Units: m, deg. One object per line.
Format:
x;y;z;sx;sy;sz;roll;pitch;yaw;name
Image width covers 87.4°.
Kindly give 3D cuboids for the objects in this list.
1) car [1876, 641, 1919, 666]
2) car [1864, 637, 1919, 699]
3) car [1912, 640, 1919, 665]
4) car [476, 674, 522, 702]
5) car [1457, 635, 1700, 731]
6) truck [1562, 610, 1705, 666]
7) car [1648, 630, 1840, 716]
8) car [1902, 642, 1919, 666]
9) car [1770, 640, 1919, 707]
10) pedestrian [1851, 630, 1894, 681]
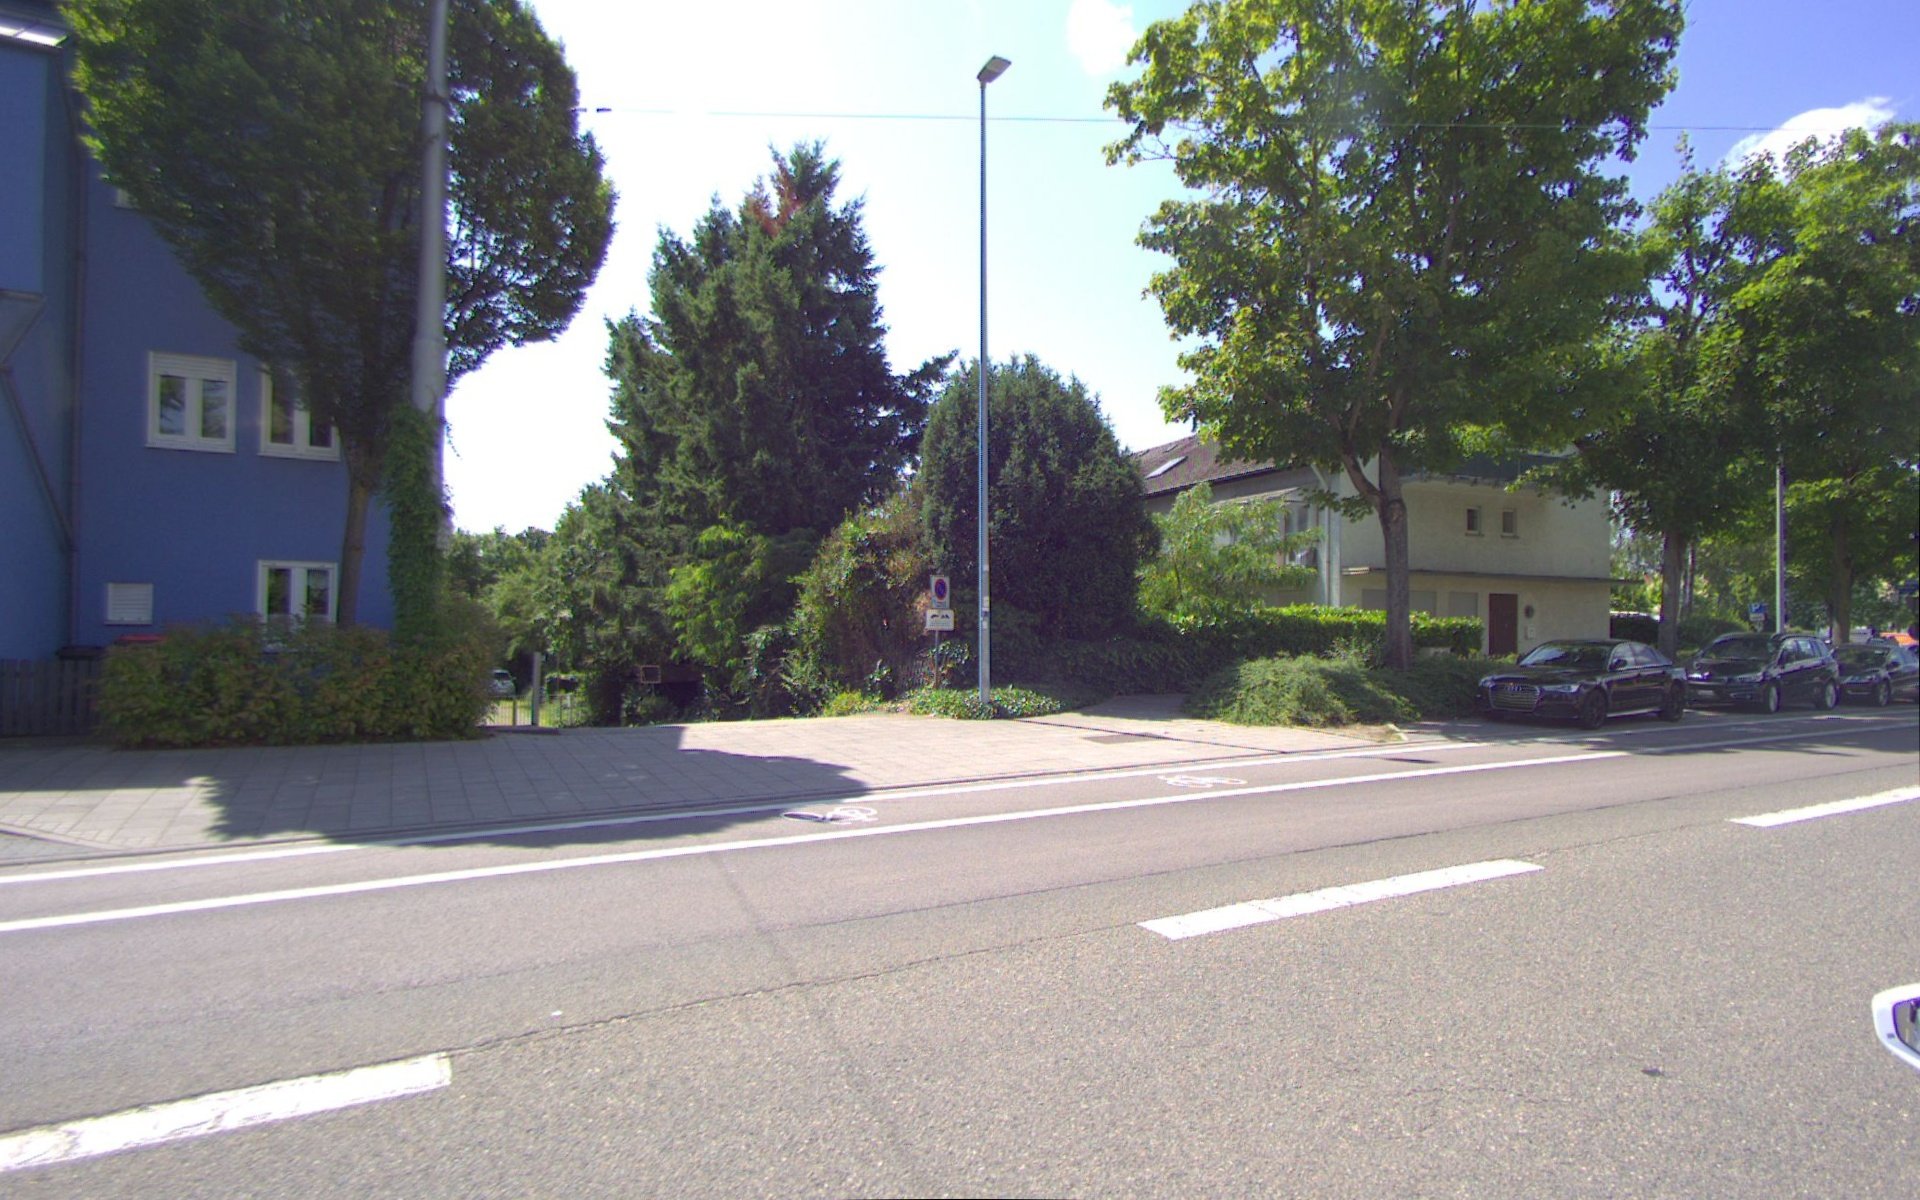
54.004;3.015;56.022;1.784;1.357;3.968;1;-2;-30;car
25.975;1.792;26.678;4.000;1.500;1.766;1;0;-30;car
58.032;3.086;58.109;1.784;1.461;3.969;1;-2;-30;car
-24.900;4.710;54.237;1.824;1.371;3.968;1;-4;-31;car
11.104;1.394;17.922;4.750;1.475;1.765;2;-1;-32;car
41.946;2.322;62.812;2.306;3.270;7.150;1;-2;-31;truck
16.843;1.499;21.524;4.585;1.625;1.765;2;0;-32;car
56.363;3.113;56.979;1.784;1.357;3.968;1;-2;-30;car
21.741;1.728;24.382;4.644;1.391;1.765;2;1;-32;car
33.333;2.016;36.702;0.786;1.847;0.969;1;-1;-32;pedestrian
